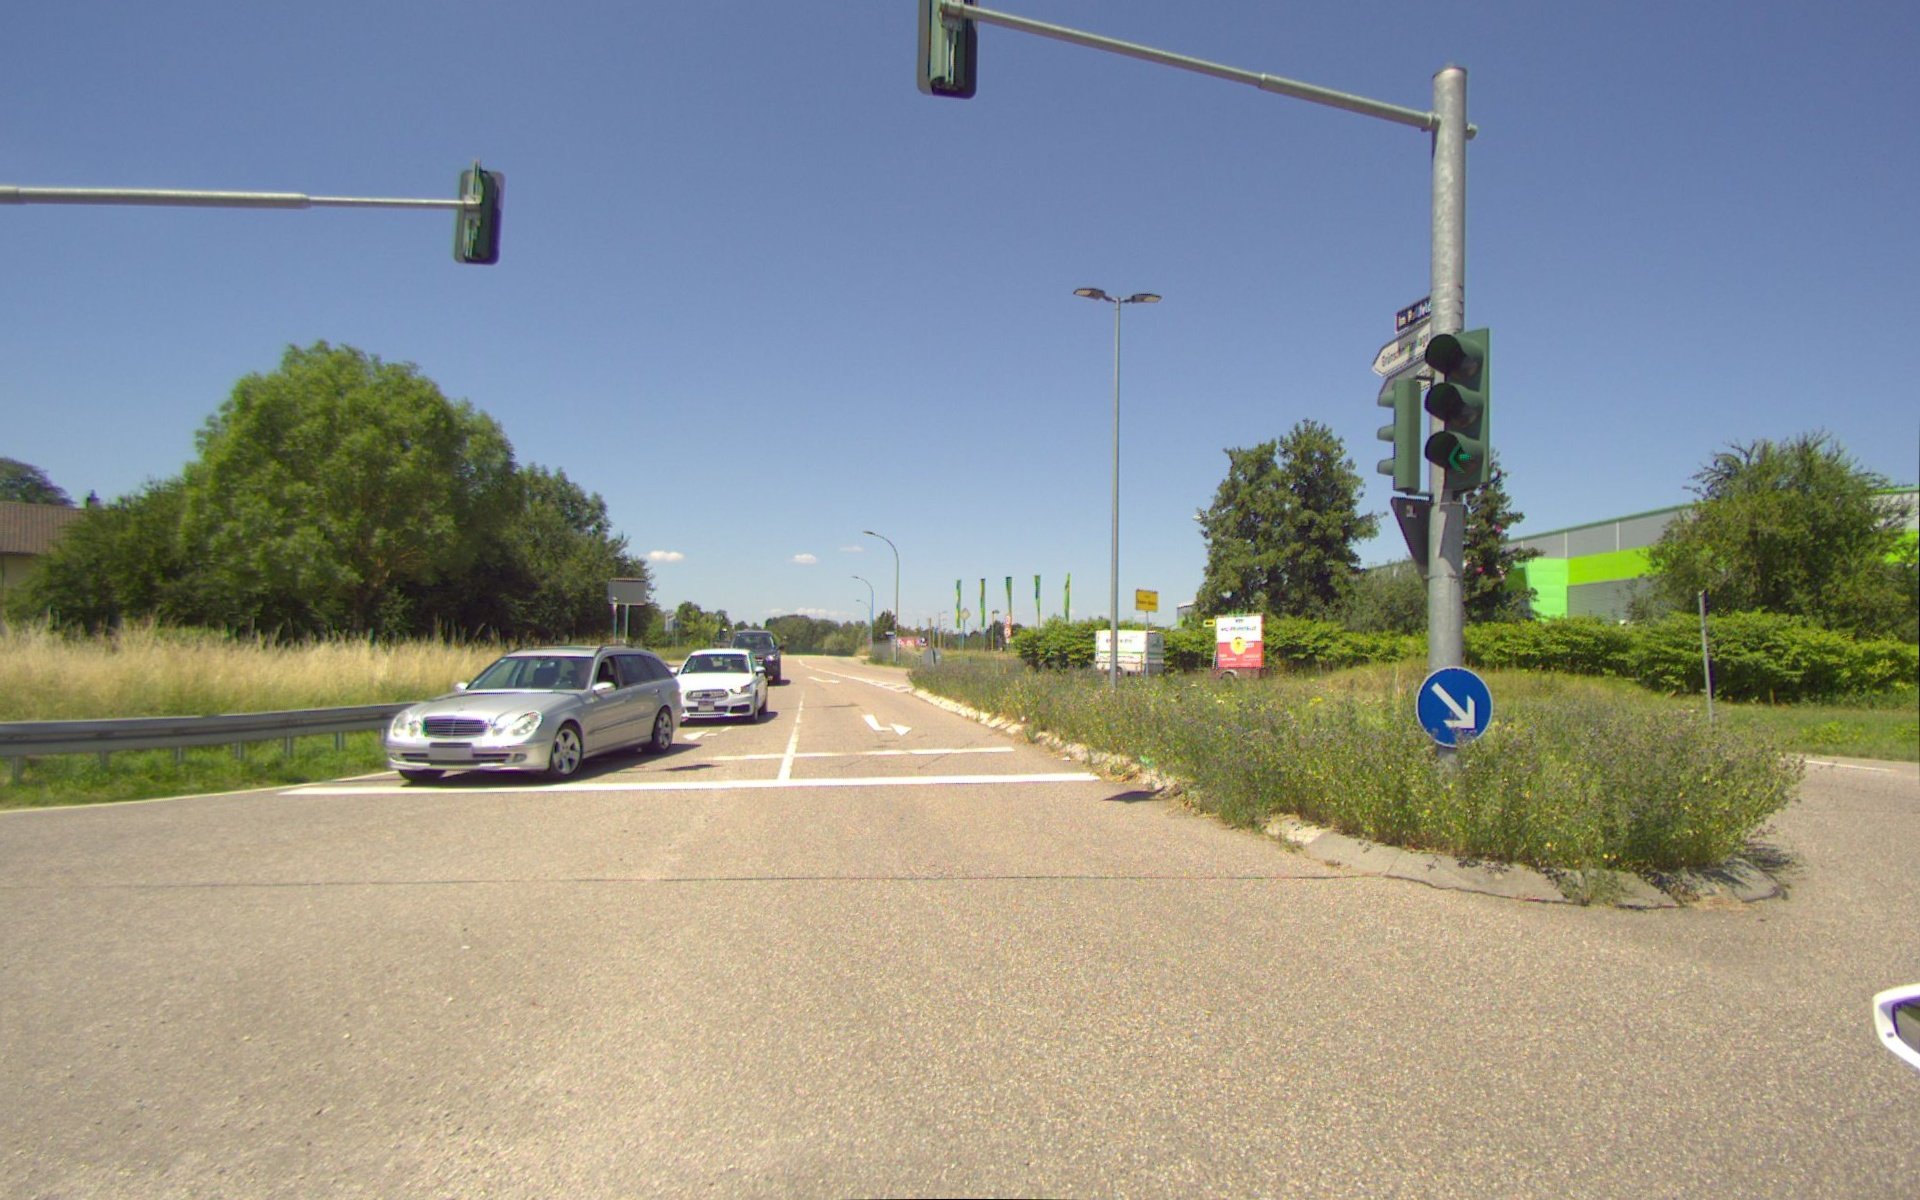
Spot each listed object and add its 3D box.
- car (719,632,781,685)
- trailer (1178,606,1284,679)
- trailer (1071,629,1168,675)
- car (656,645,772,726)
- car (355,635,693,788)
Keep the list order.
[{"bbox_3d":[-6.983,1.904,33.686,1.738,1.646,4.229,0,-2,-8],"label":"car"},{"bbox_3d":[10.945,1.689,40.654,3.707,2.800,1.816,-1,-3,44],"label":"trailer"},{"bbox_3d":[6.728,2.174,42.568,3.708,1.814,1.815,-1,-3,45],"label":"trailer"},{"bbox_3d":[-4.829,1.640,20.229,1.738,1.417,3.961,0,-2,-6],"label":"car"},{"bbox_3d":[-4.993,1.199,12.467,1.840,1.476,4.973,1,-2,2],"label":"car"}]
